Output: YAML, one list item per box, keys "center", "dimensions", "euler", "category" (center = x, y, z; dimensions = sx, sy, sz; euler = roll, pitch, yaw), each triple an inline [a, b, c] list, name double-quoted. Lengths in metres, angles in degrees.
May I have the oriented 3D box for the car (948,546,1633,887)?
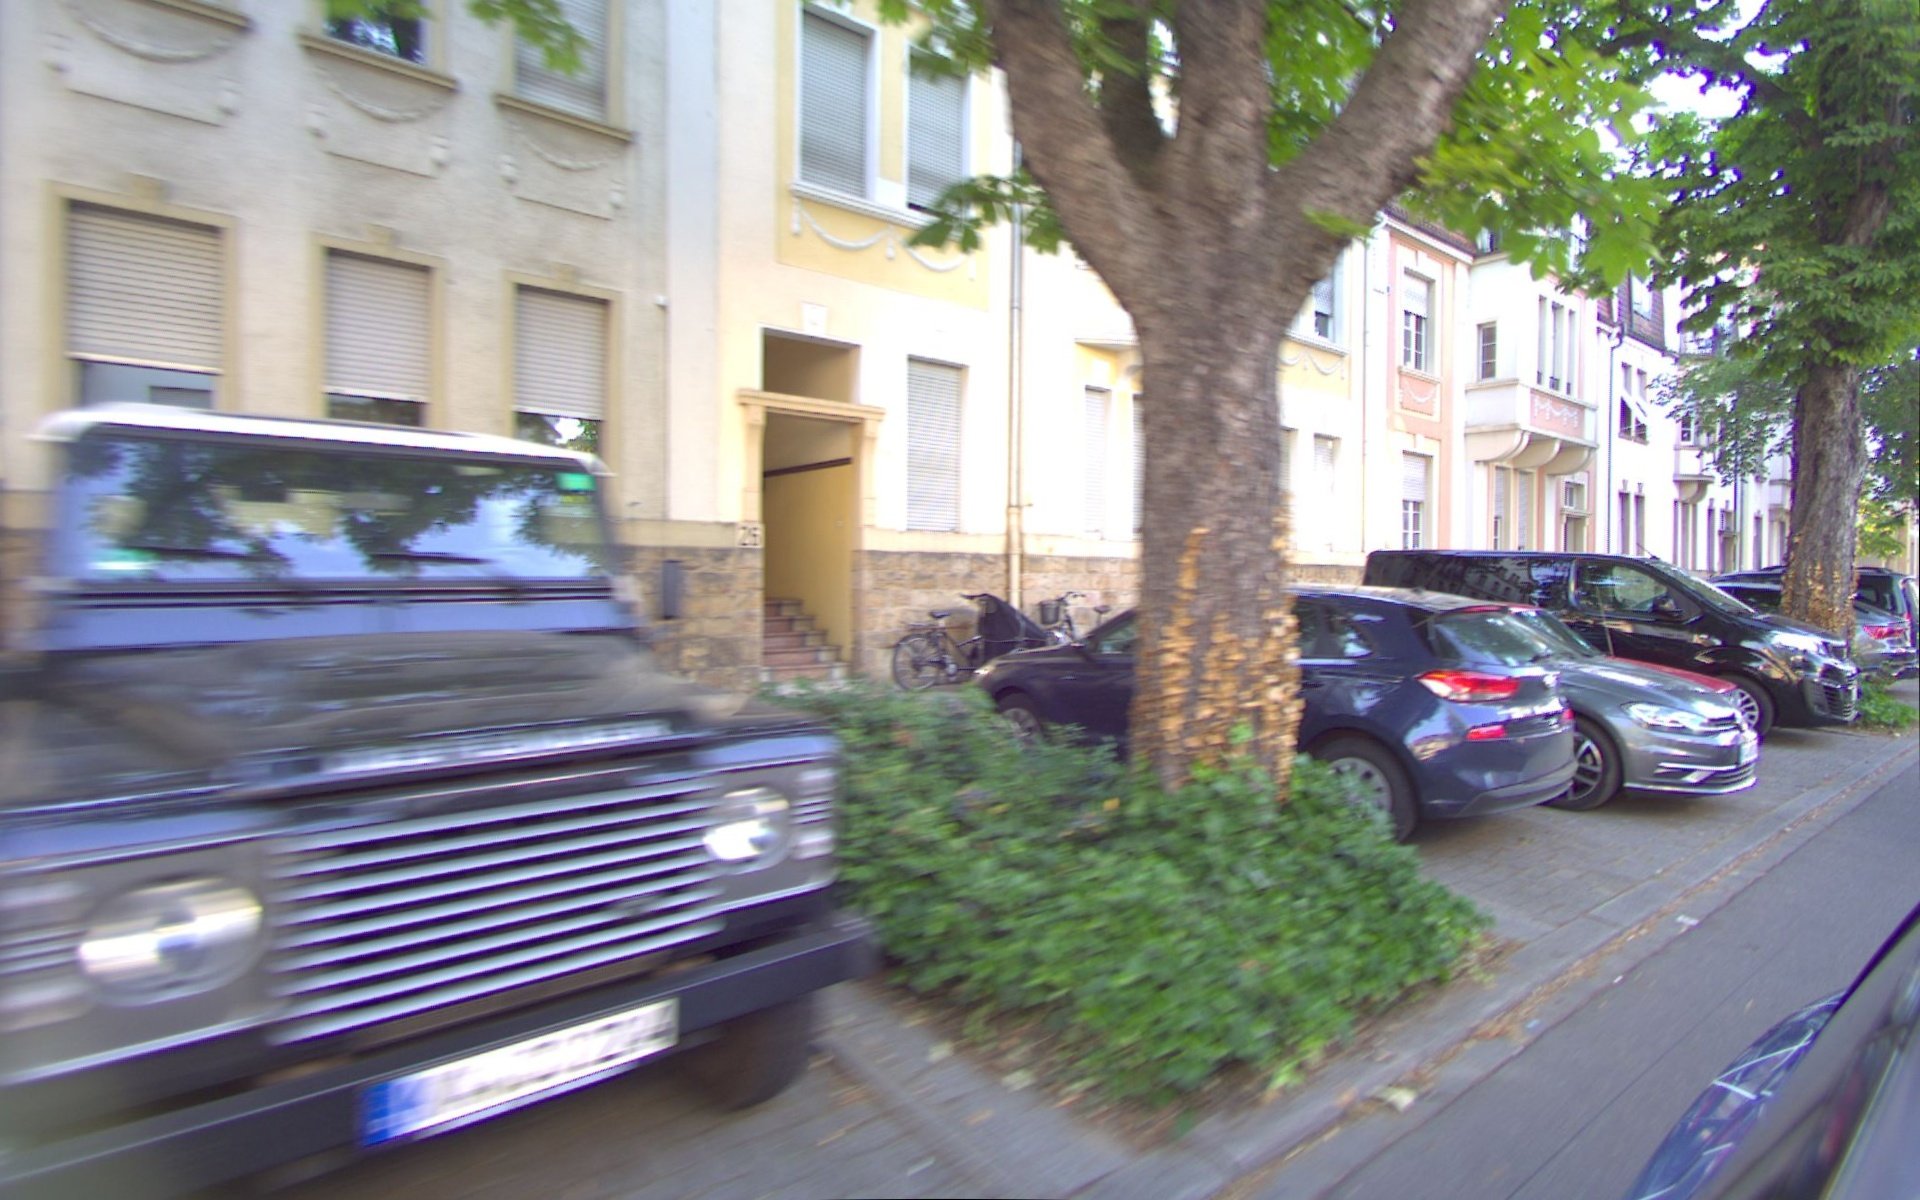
- center: [2.012, 0.546, 7.123]
  dimensions: [1.939, 1.649, 4.203]
  euler: [-1, 1, -41]
  category: "car"

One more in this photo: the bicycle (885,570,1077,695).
- center: [0.270, 0.330, 11.657]
  dimensions: [2.162, 1.300, 0.762]
  euler: [0, 3, -37]
  category: "bicycle"

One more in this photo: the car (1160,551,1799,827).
- center: [3.923, 0.503, 8.213]
  dimensions: [1.966, 1.627, 4.203]
  euler: [-1, 1, -41]
  category: "car"

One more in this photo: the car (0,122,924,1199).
- center: [-2.176, 0.254, 3.534]
  dimensions: [1.729, 2.008, 4.430]
  euler: [-4, 4, -40]
  category: "car"

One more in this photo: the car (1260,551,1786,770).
- center: [5.402, 0.456, 10.135]
  dimensions: [1.966, 1.709, 4.203]
  euler: [-1, 1, -41]
  category: "car"

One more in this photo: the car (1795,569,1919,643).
- center: [25.345, 0.144, 26.855]
  dimensions: [1.966, 1.897, 4.704]
  euler: [-1, 1, -41]
  category: "car"

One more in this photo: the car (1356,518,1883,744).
- center: [7.241, 0.261, 11.550]
  dimensions: [1.966, 2.039, 4.704]
  euler: [-1, 1, -41]
  category: "car"

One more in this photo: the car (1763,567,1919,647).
- center: [23.248, 0.154, 25.303]
  dimensions: [1.966, 1.897, 4.704]
  euler: [-1, 1, -41]
  category: "car"
